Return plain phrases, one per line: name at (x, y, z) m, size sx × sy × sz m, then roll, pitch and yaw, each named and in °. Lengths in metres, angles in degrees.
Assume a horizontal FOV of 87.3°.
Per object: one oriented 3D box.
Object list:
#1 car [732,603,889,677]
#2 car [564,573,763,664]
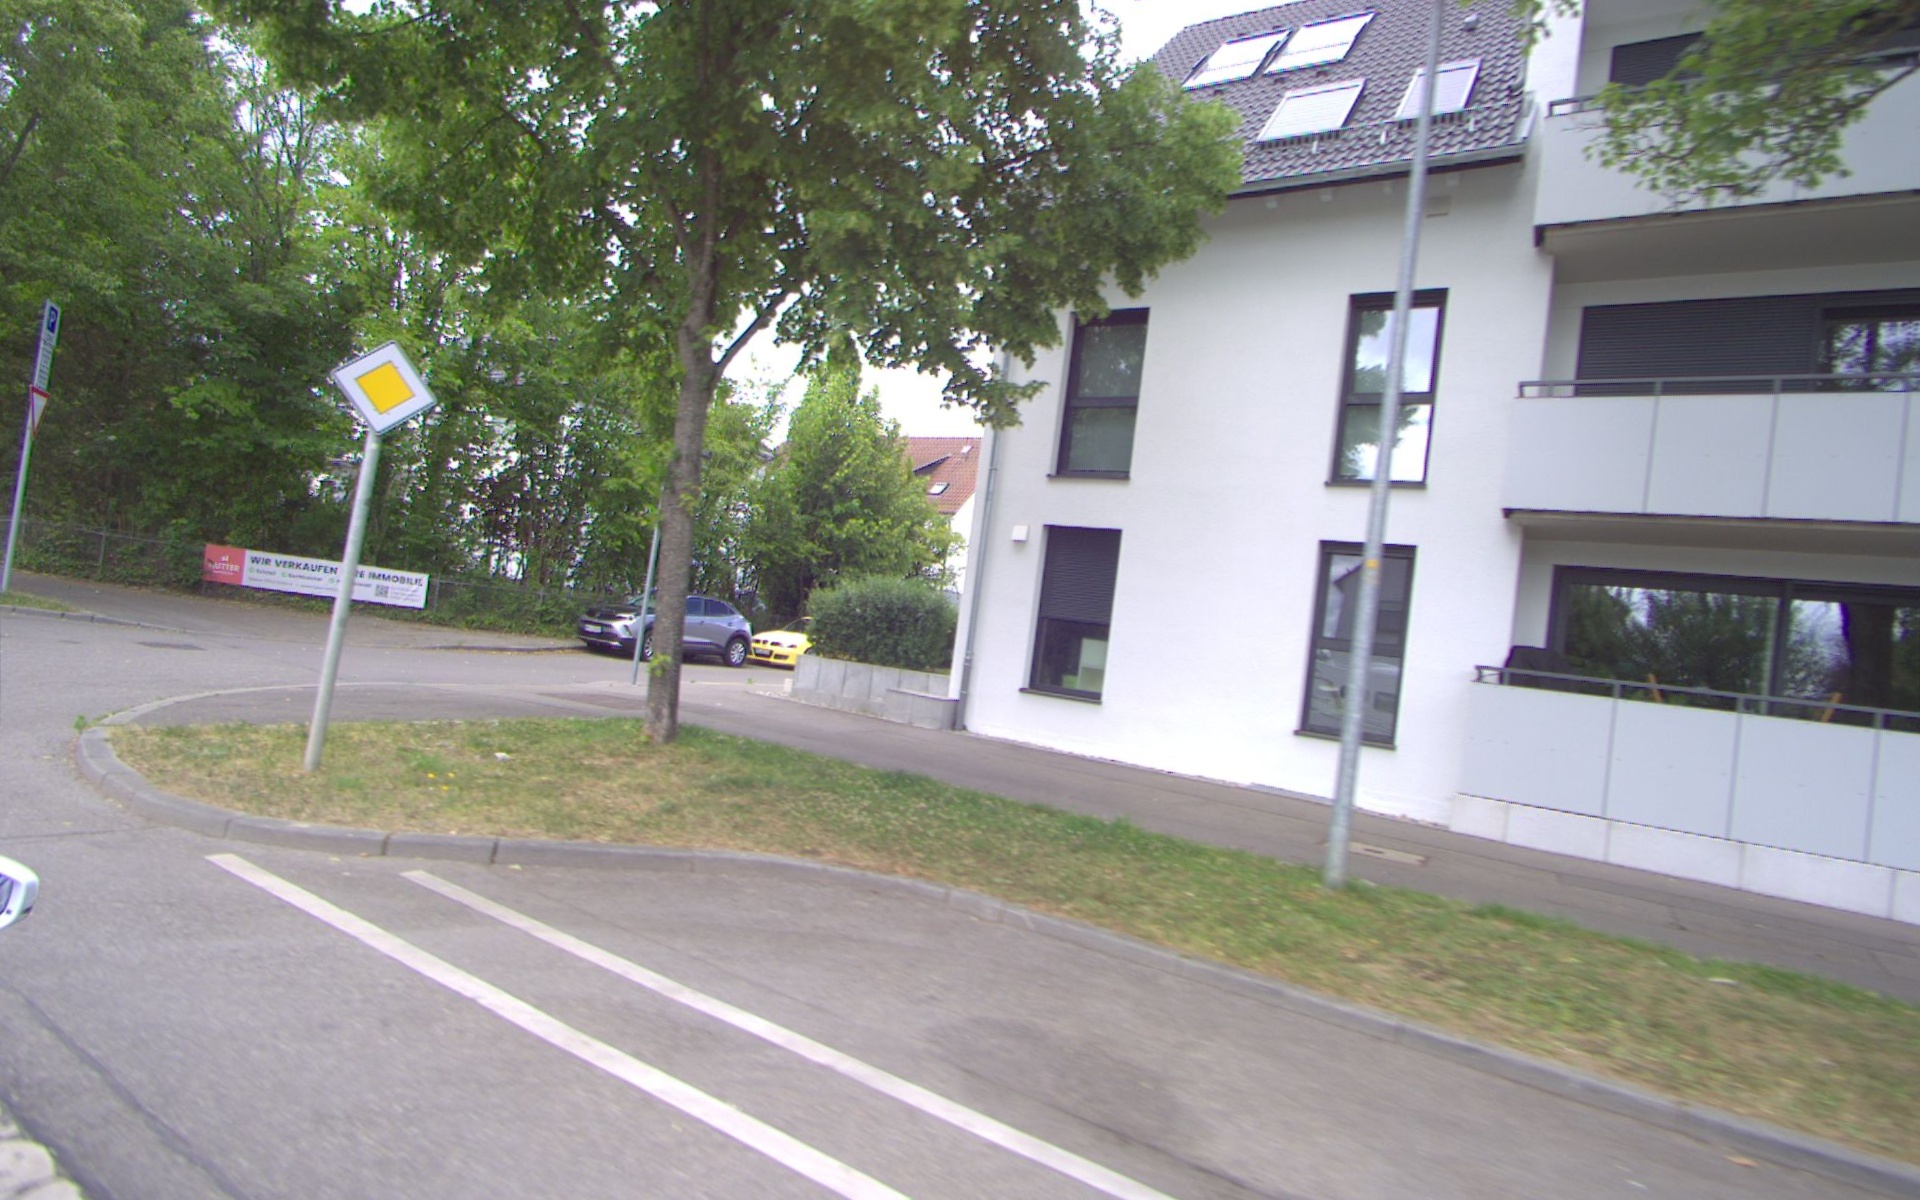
car at (-3.818, 1.097, 26.294) m, size 1.764 × 1.433 × 3.995 m, roll 8°, pitch -1°, yaw 32°
car at (-6.357, 0.470, 22.037) m, size 1.762 × 1.476 × 3.998 m, roll 8°, pitch -1°, yaw 28°
